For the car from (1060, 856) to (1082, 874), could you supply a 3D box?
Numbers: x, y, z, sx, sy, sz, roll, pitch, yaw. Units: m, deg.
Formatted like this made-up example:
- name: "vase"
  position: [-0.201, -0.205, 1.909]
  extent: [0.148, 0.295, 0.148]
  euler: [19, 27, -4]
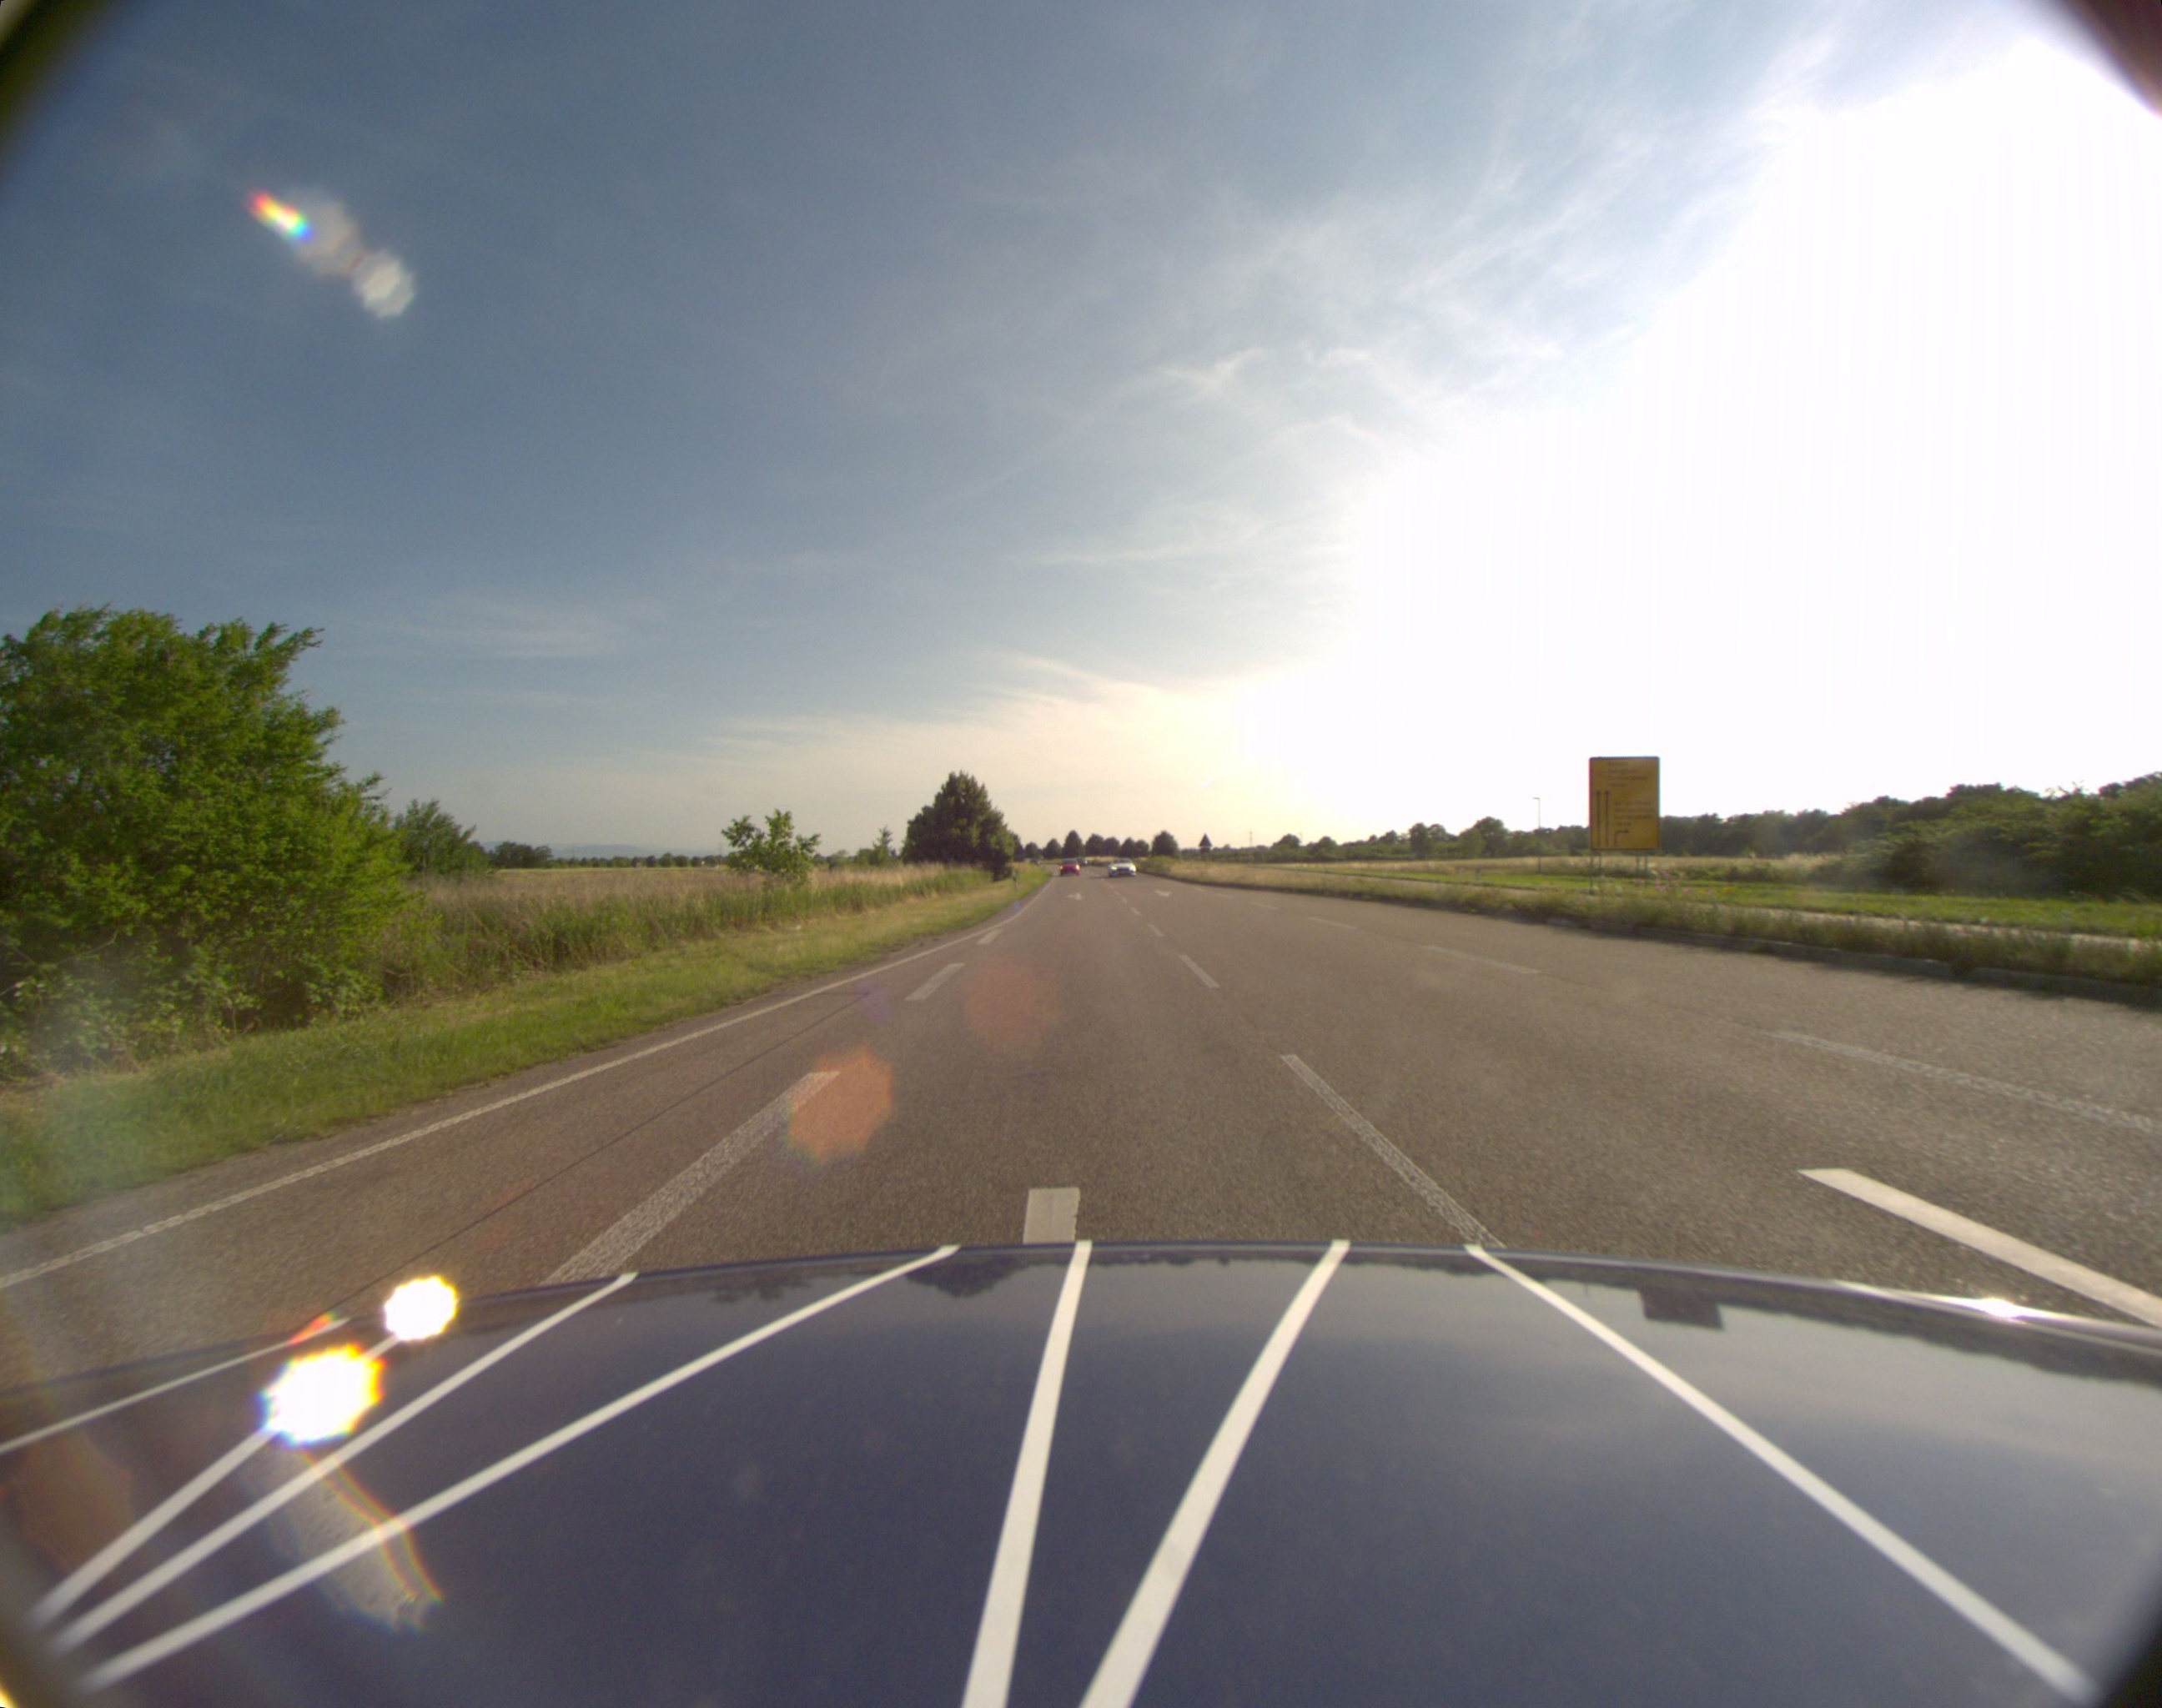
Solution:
- name: "car"
  position: [-0.866, 0.955, 67.646]
  extent: [1.665, 1.455, 3.954]
  euler: [-2, 1, 1]

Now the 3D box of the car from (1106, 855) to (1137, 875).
- name: "car"
  position: [3.074, 0.808, 58.068]
  extent: [1.876, 1.390, 4.202]
  euler: [-2, 1, -3]

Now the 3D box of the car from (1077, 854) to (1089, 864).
- name: "car"
  position: [0.256, 0.728, 115.189]
  extent: [1.689, 1.455, 3.954]
  euler: [-1, 0, -2]
